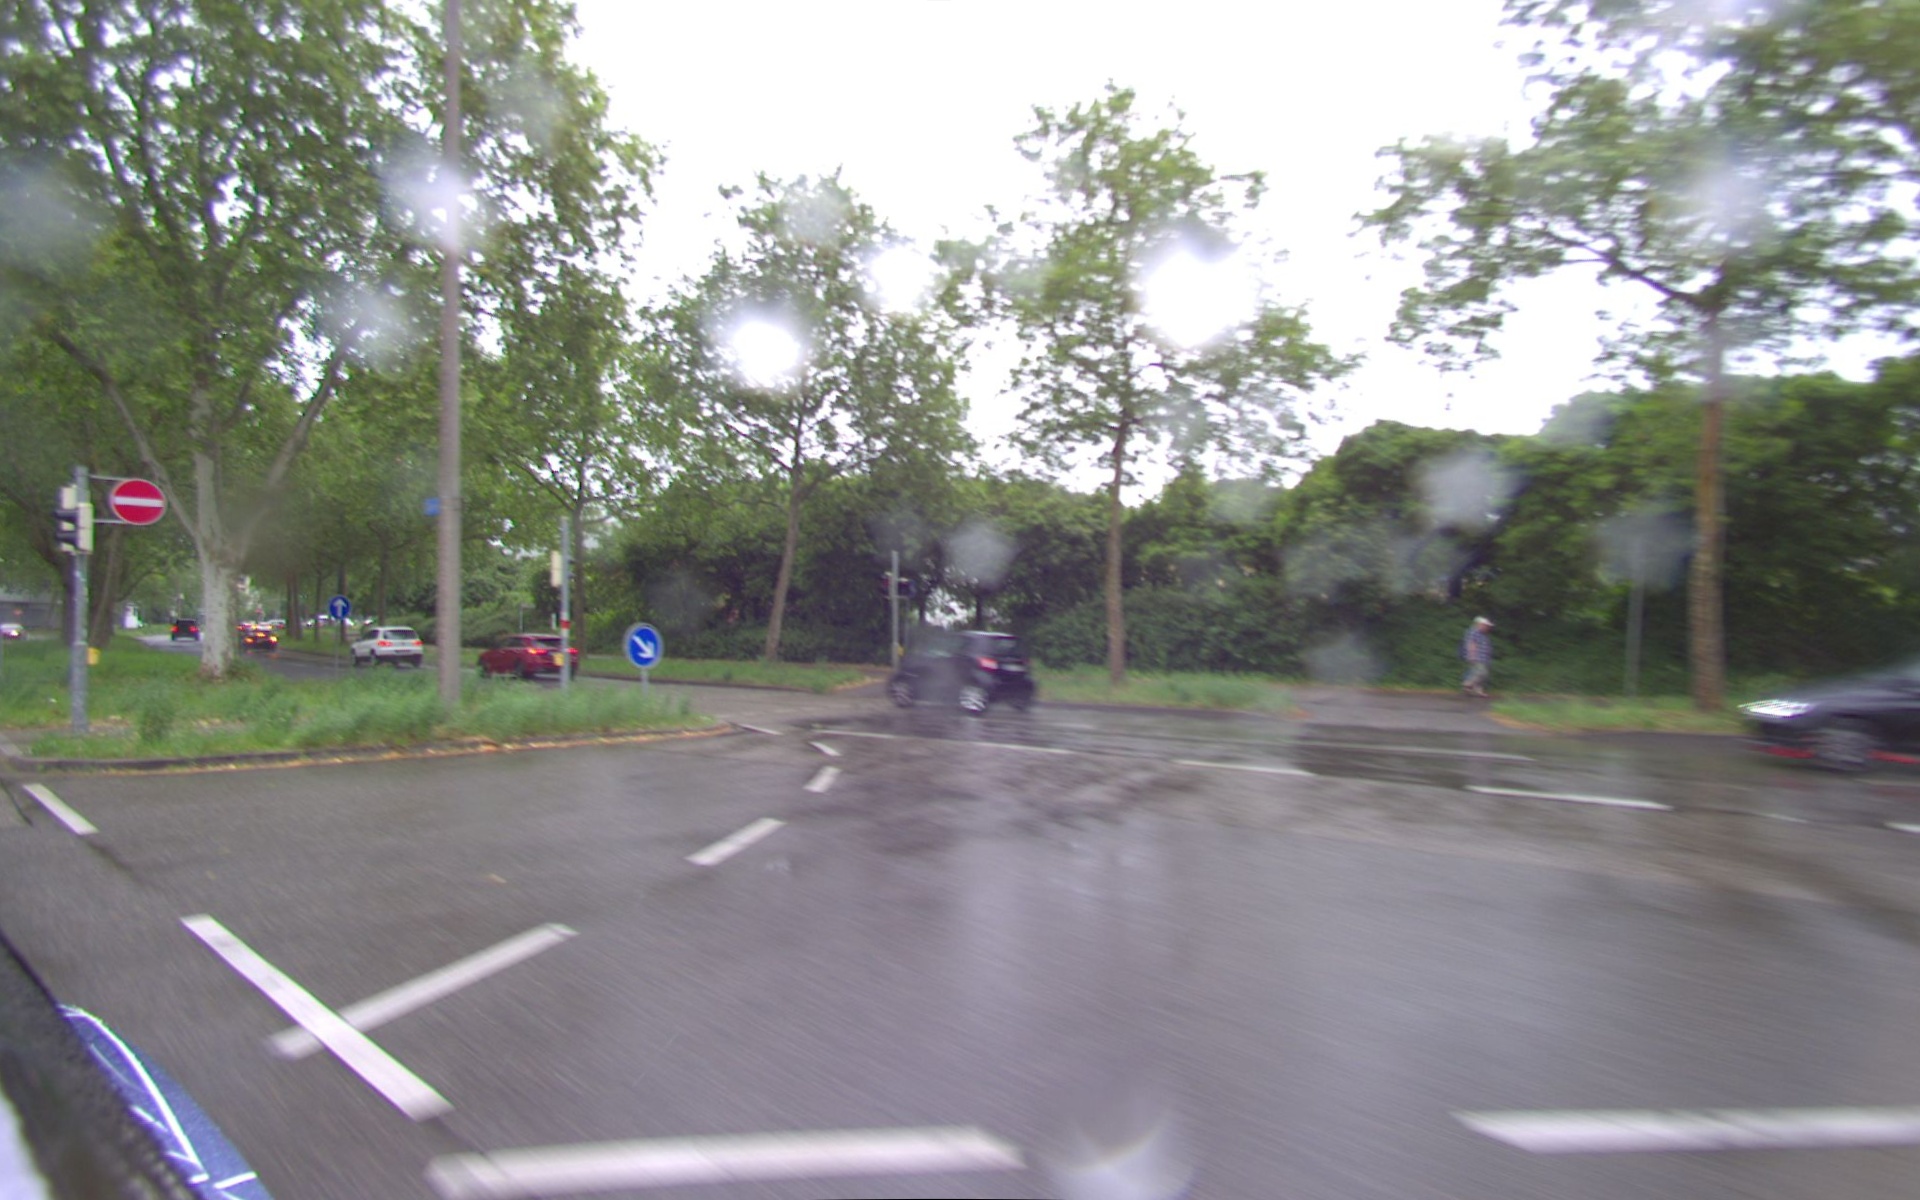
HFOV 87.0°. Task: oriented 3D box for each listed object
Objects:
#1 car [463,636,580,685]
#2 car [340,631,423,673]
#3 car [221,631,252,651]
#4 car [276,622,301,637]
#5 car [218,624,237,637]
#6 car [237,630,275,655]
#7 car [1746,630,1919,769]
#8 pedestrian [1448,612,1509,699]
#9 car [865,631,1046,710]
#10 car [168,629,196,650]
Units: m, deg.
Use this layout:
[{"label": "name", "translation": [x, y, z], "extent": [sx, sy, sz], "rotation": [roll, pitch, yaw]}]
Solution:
[{"label": "car", "translation": [-14.243, 1.917, 32.740], "extent": [4.442, 1.419, 1.725], "rotation": [-1, -2, 41]}, {"label": "car", "translation": [-24.032, 2.109, 41.987], "extent": [4.443, 1.644, 1.724], "rotation": [-1, -2, 42]}, {"label": "car", "translation": [-56.990, 3.181, 79.715], "extent": [1.721, 1.487, 4.243], "rotation": [1, -2, -39]}, {"label": "car", "translation": [-100.950, 4.368, 152.264], "extent": [2.001, 2.243, 5.452], "rotation": [1, -1, -22]}, {"label": "car", "translation": [-93.856, 3.918, 129.630], "extent": [1.721, 1.603, 4.338], "rotation": [1, -2, -39]}, {"label": "car", "translation": [-43.707, 2.655, 62.775], "extent": [1.721, 1.450, 4.453], "rotation": [1, -3, -37]}, {"label": "car", "translation": [10.737, 1.017, 10.287], "extent": [4.260, 1.383, 1.570], "rotation": [-1, -2, 41]}, {"label": "pedestrian", "translation": [10.411, 1.095, 20.307], "extent": [0.899, 1.686, 0.822], "rotation": [-1, -2, 42]}, {"label": "car", "translation": [-0.125, 1.311, 19.827], "extent": [3.331, 1.383, 1.571], "rotation": [-1, -2, 40]}, {"label": "car", "translation": [-70.772, 3.585, 92.115], "extent": [1.720, 1.856, 5.133], "rotation": [1, -2, -34]}]
